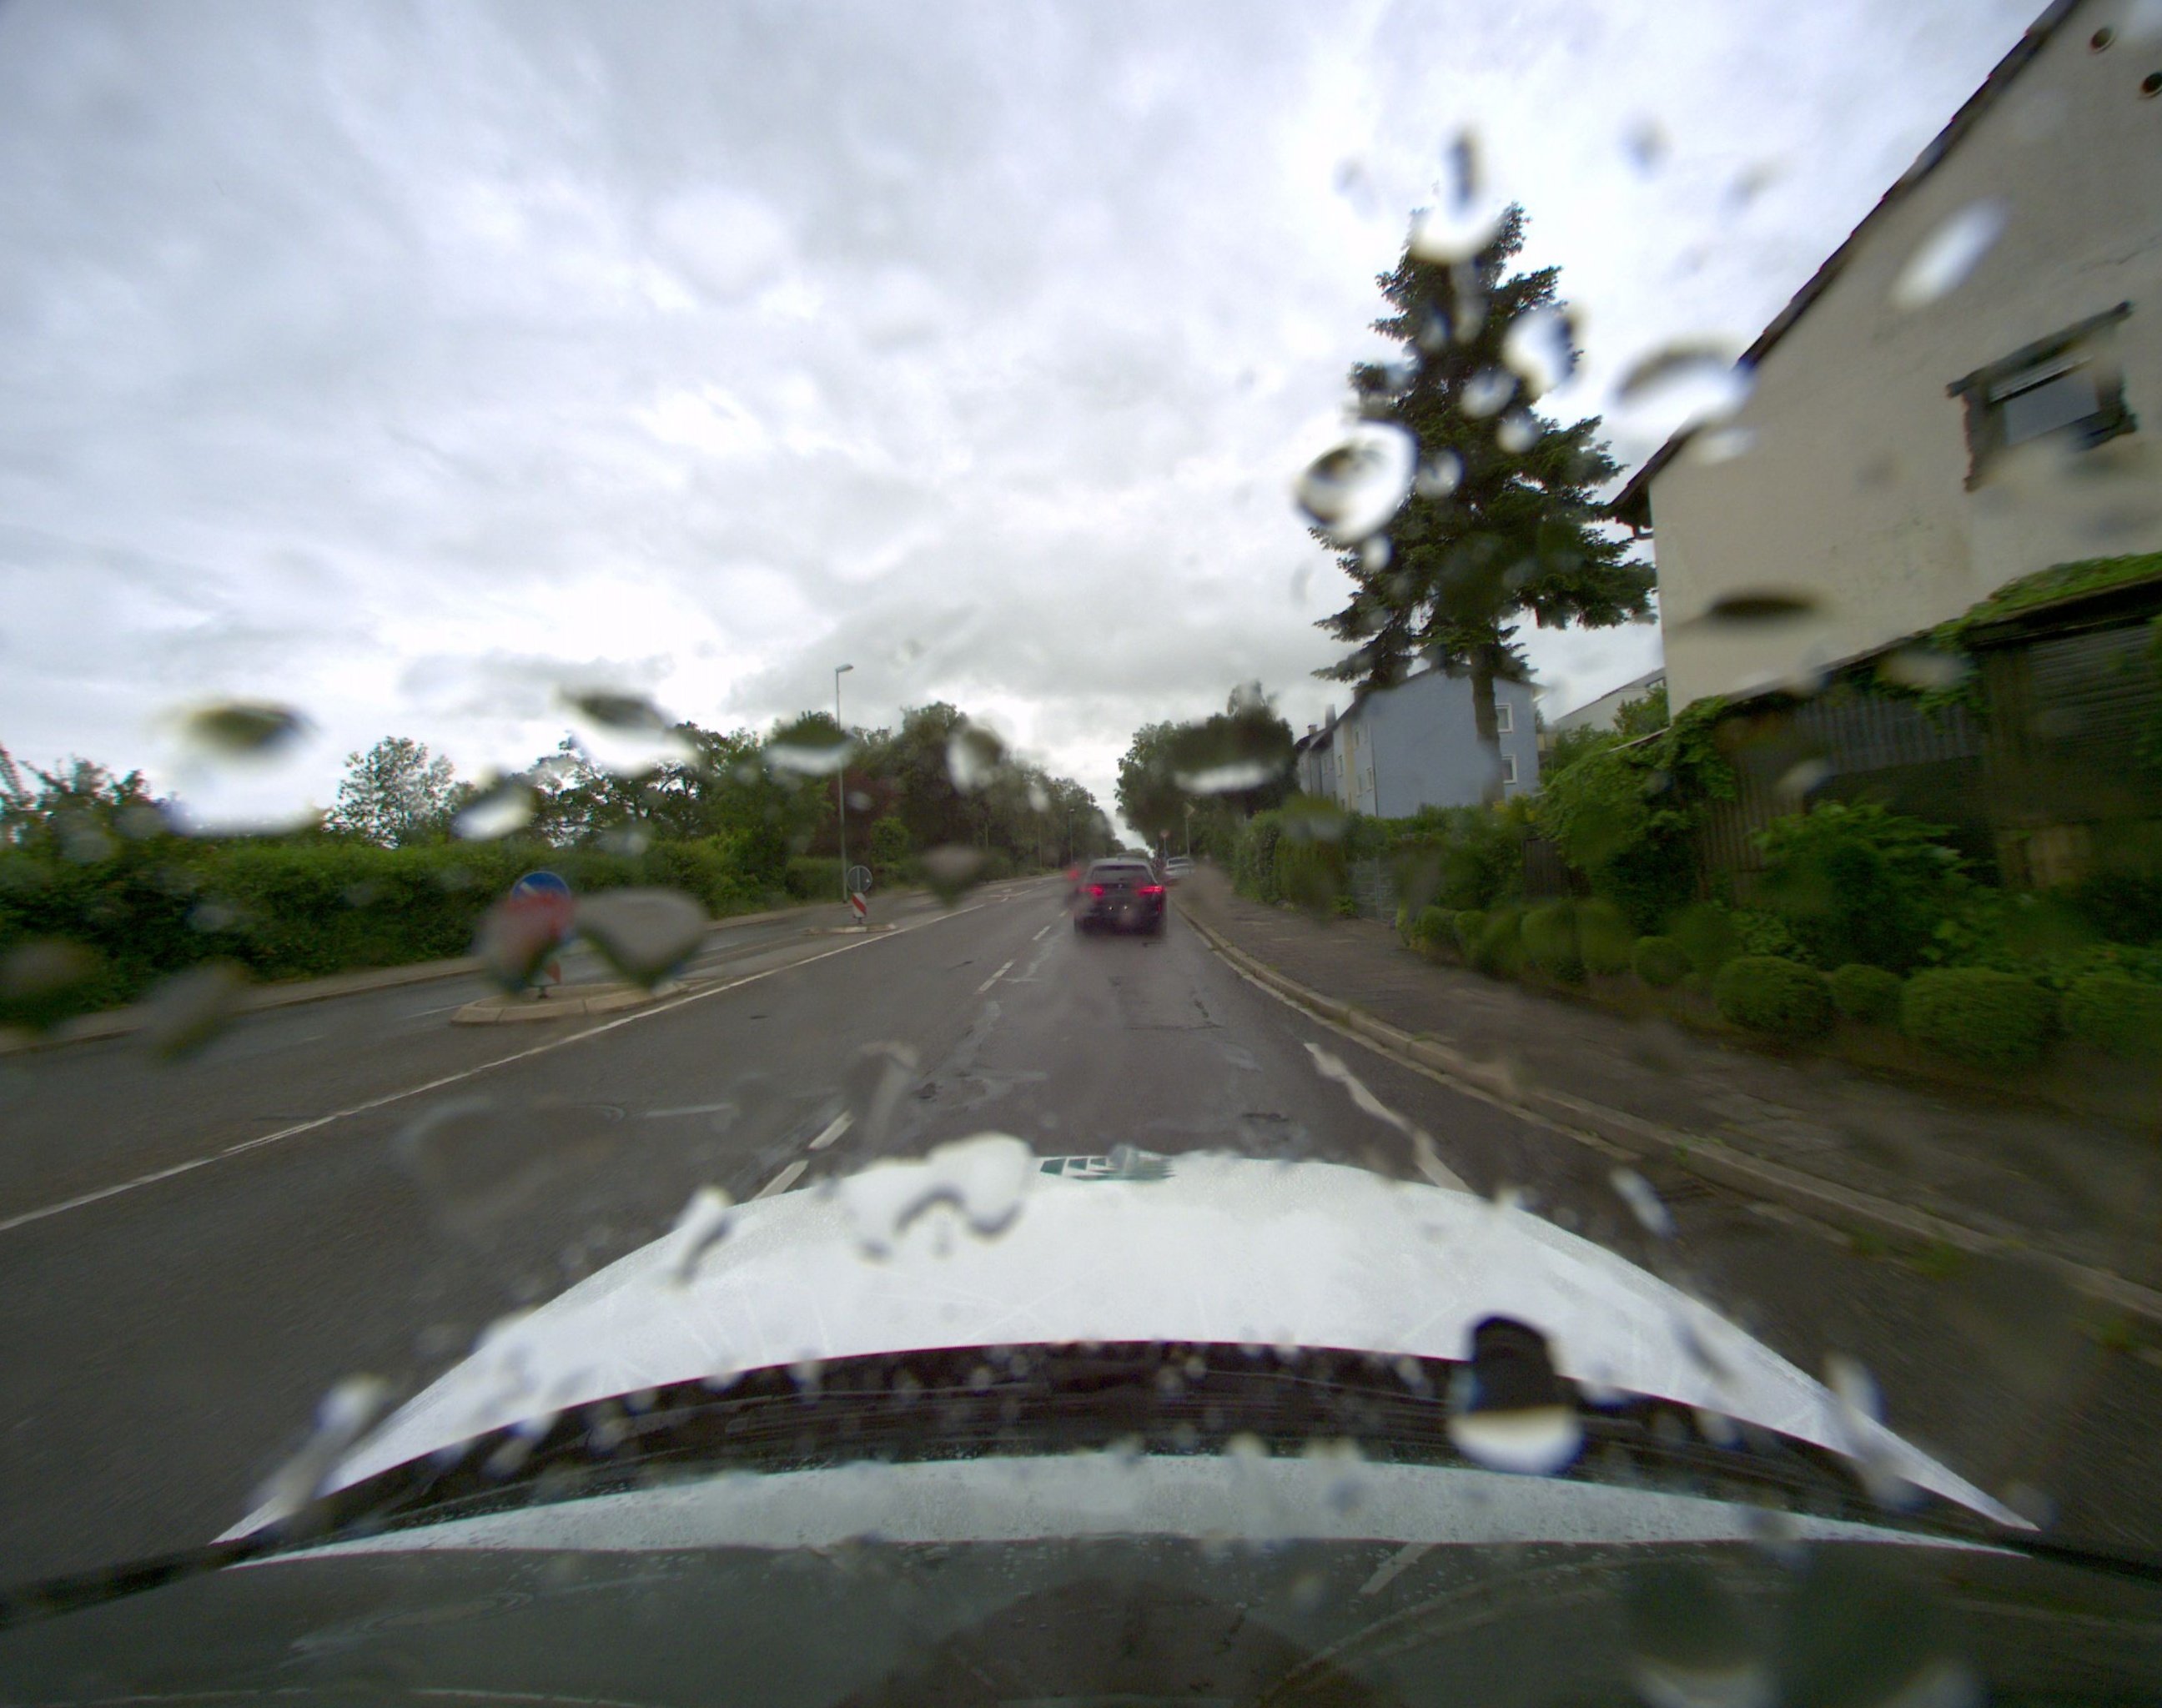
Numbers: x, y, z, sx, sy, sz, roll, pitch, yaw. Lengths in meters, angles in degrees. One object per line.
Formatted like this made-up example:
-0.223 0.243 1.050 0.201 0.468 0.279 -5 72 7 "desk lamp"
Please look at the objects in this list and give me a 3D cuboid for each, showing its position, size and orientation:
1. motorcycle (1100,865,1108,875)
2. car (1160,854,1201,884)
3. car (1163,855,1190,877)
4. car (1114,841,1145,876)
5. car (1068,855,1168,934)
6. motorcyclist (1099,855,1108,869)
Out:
2.550 1.753 91.432 0.872 1.124 2.742 0 -1 2 "motorcycle"
5.270 0.758 43.599 1.926 1.442 4.414 -3 0 5 "car"
6.590 0.811 56.527 1.583 1.461 3.565 -3 0 3 "car"
2.740 0.224 46.714 1.623 1.833 4.002 -3 0 2 "car"
0.811 0.773 17.424 1.889 1.489 4.003 0 0 3 "car"
2.540 0.929 91.324 1.035 1.567 0.855 0 -1 2 "motorcyclist"
